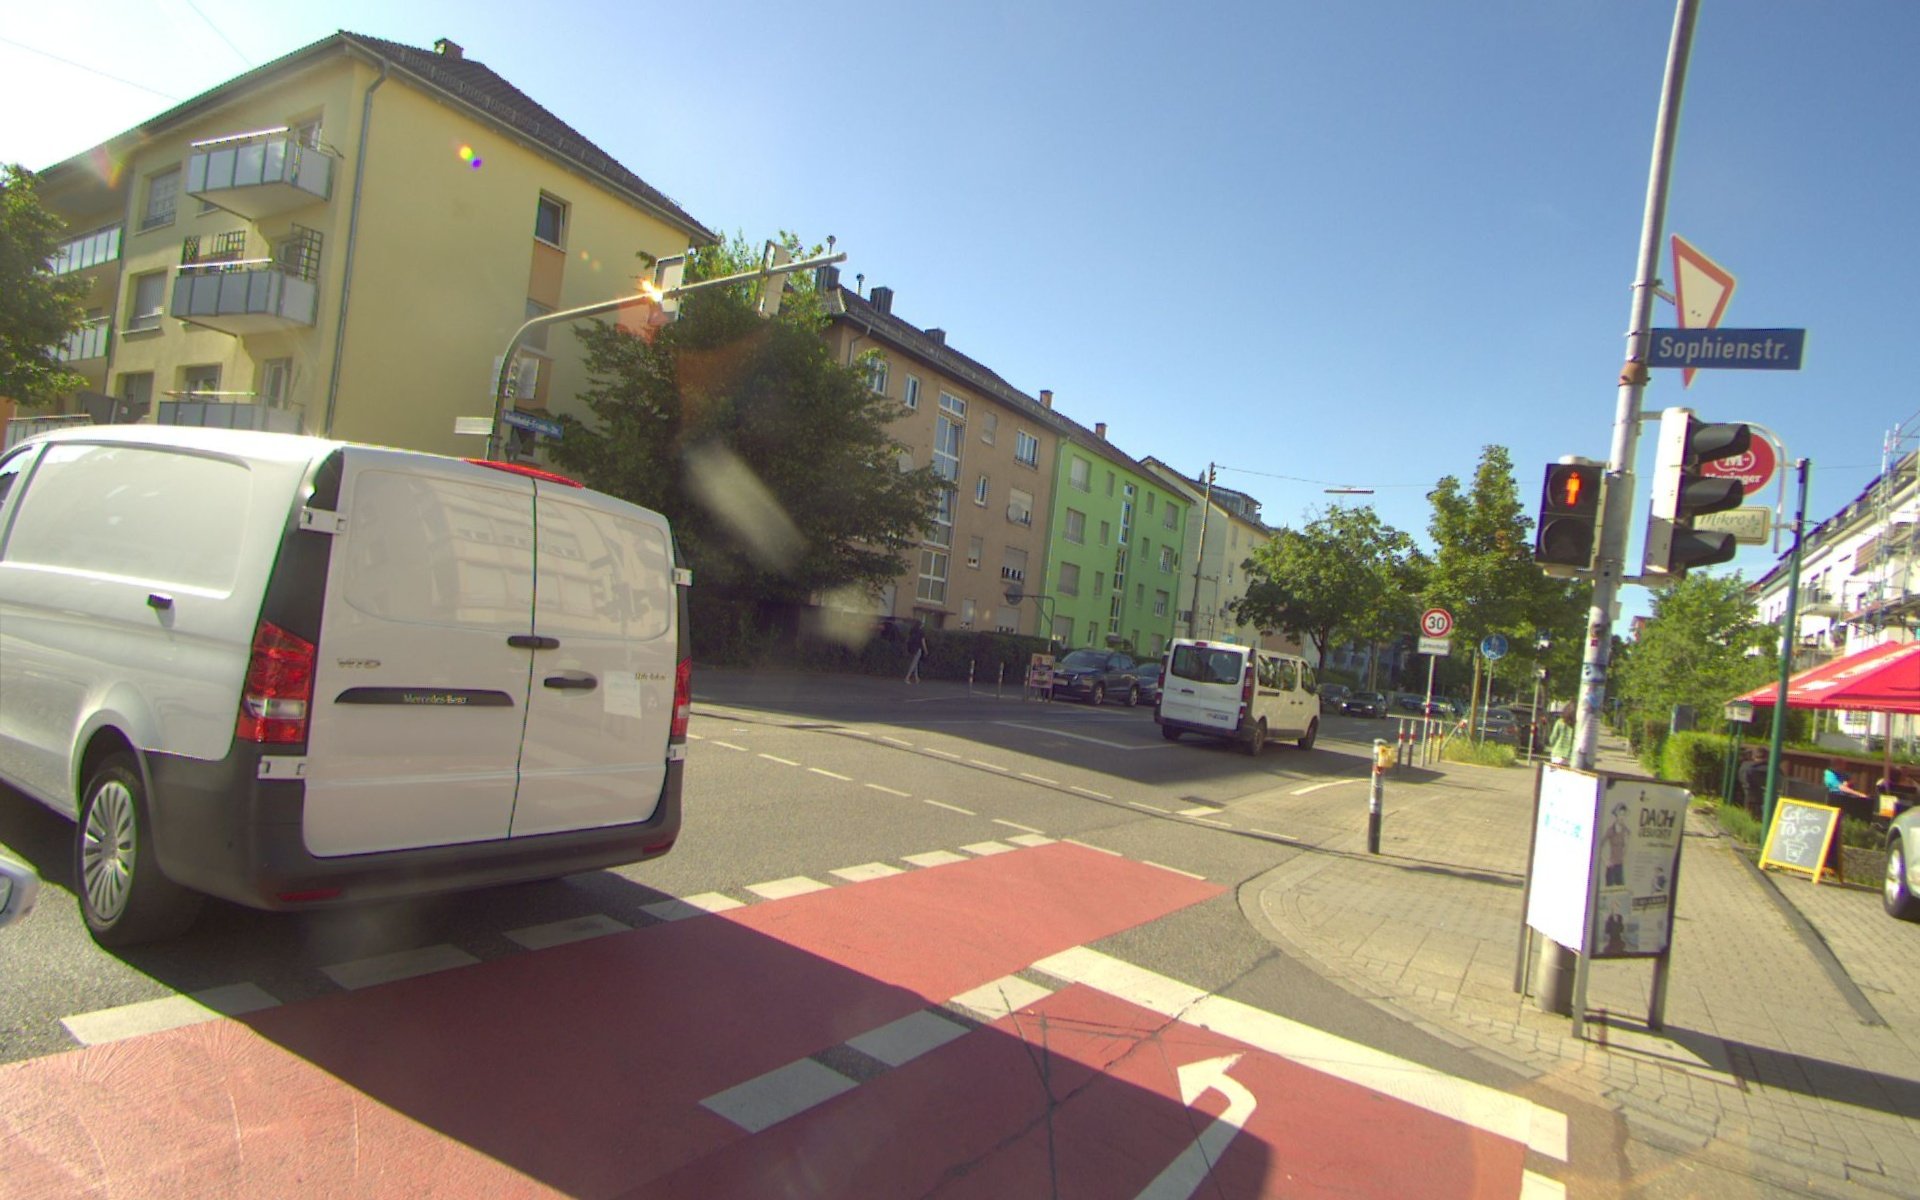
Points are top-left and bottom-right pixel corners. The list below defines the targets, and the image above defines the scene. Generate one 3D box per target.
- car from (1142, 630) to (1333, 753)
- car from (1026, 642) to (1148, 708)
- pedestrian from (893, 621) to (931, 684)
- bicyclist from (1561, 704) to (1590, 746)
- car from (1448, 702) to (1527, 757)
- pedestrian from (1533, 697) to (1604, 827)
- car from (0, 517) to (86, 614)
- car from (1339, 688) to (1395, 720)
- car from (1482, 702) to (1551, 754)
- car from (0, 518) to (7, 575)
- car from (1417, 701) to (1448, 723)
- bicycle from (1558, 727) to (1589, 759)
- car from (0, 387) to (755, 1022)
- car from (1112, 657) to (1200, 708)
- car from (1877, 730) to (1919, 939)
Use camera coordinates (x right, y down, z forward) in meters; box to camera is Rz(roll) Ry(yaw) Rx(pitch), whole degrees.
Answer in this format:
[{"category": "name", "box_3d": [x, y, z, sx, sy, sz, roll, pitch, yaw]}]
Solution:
[{"category": "car", "box_3d": [5.709, 1.923, 20.188, 1.944, 1.961, 5.047, 6, -4, 35]}, {"category": "car", "box_3d": [3.889, 2.286, 30.200, 1.968, 1.592, 3.993, 6, -2, 33]}, {"category": "pedestrian", "box_3d": [-1.303, 1.422, 27.280, 0.637, 1.605, 0.569, 6, -1, 40]}, {"category": "bicyclist", "box_3d": [21.373, 4.332, 34.954, 0.643, 1.380, 0.883, 6, -1, 26]}, {"category": "car", "box_3d": [16.022, 3.878, 30.456, 1.686, 1.329, 3.993, 6, -2, 32]}, {"category": "pedestrian", "box_3d": [8.287, 2.185, 13.716, 0.634, 1.637, 0.594, 6, -1, 28]}, {"category": "car", "box_3d": [-17.022, -0.730, 17.556, 3.424, 1.501, 1.715, 6, -2, 33]}, {"category": "car", "box_3d": [20.987, 5.363, 51.782, 1.840, 1.392, 3.993, 5, -3, 33]}, {"category": "car", "box_3d": [19.133, 4.360, 34.503, 1.686, 1.470, 3.993, 6, -2, 33]}, {"category": "car", "box_3d": [-20.788, -1.076, 20.105, 3.326, 1.501, 1.715, 6, -2, 33]}, {"category": "car", "box_3d": [36.002, 8.535, 76.549, 1.658, 1.428, 3.517, 6, -2, 31]}, {"category": "bicycle", "box_3d": [21.297, 4.948, 34.939, 0.643, 0.961, 2.004, 6, -2, 26]}, {"category": "car", "box_3d": [-3.546, 0.196, 4.983, 4.753, 1.831, 1.972, 6, -2, 32]}, {"category": "car", "box_3d": [6.750, 2.862, 34.484, 1.658, 1.428, 3.516, 6, -2, 33]}, {"category": "car", "box_3d": [8.347, 1.937, 7.234, 1.796, 1.682, 3.993, 6, -2, 33]}]
